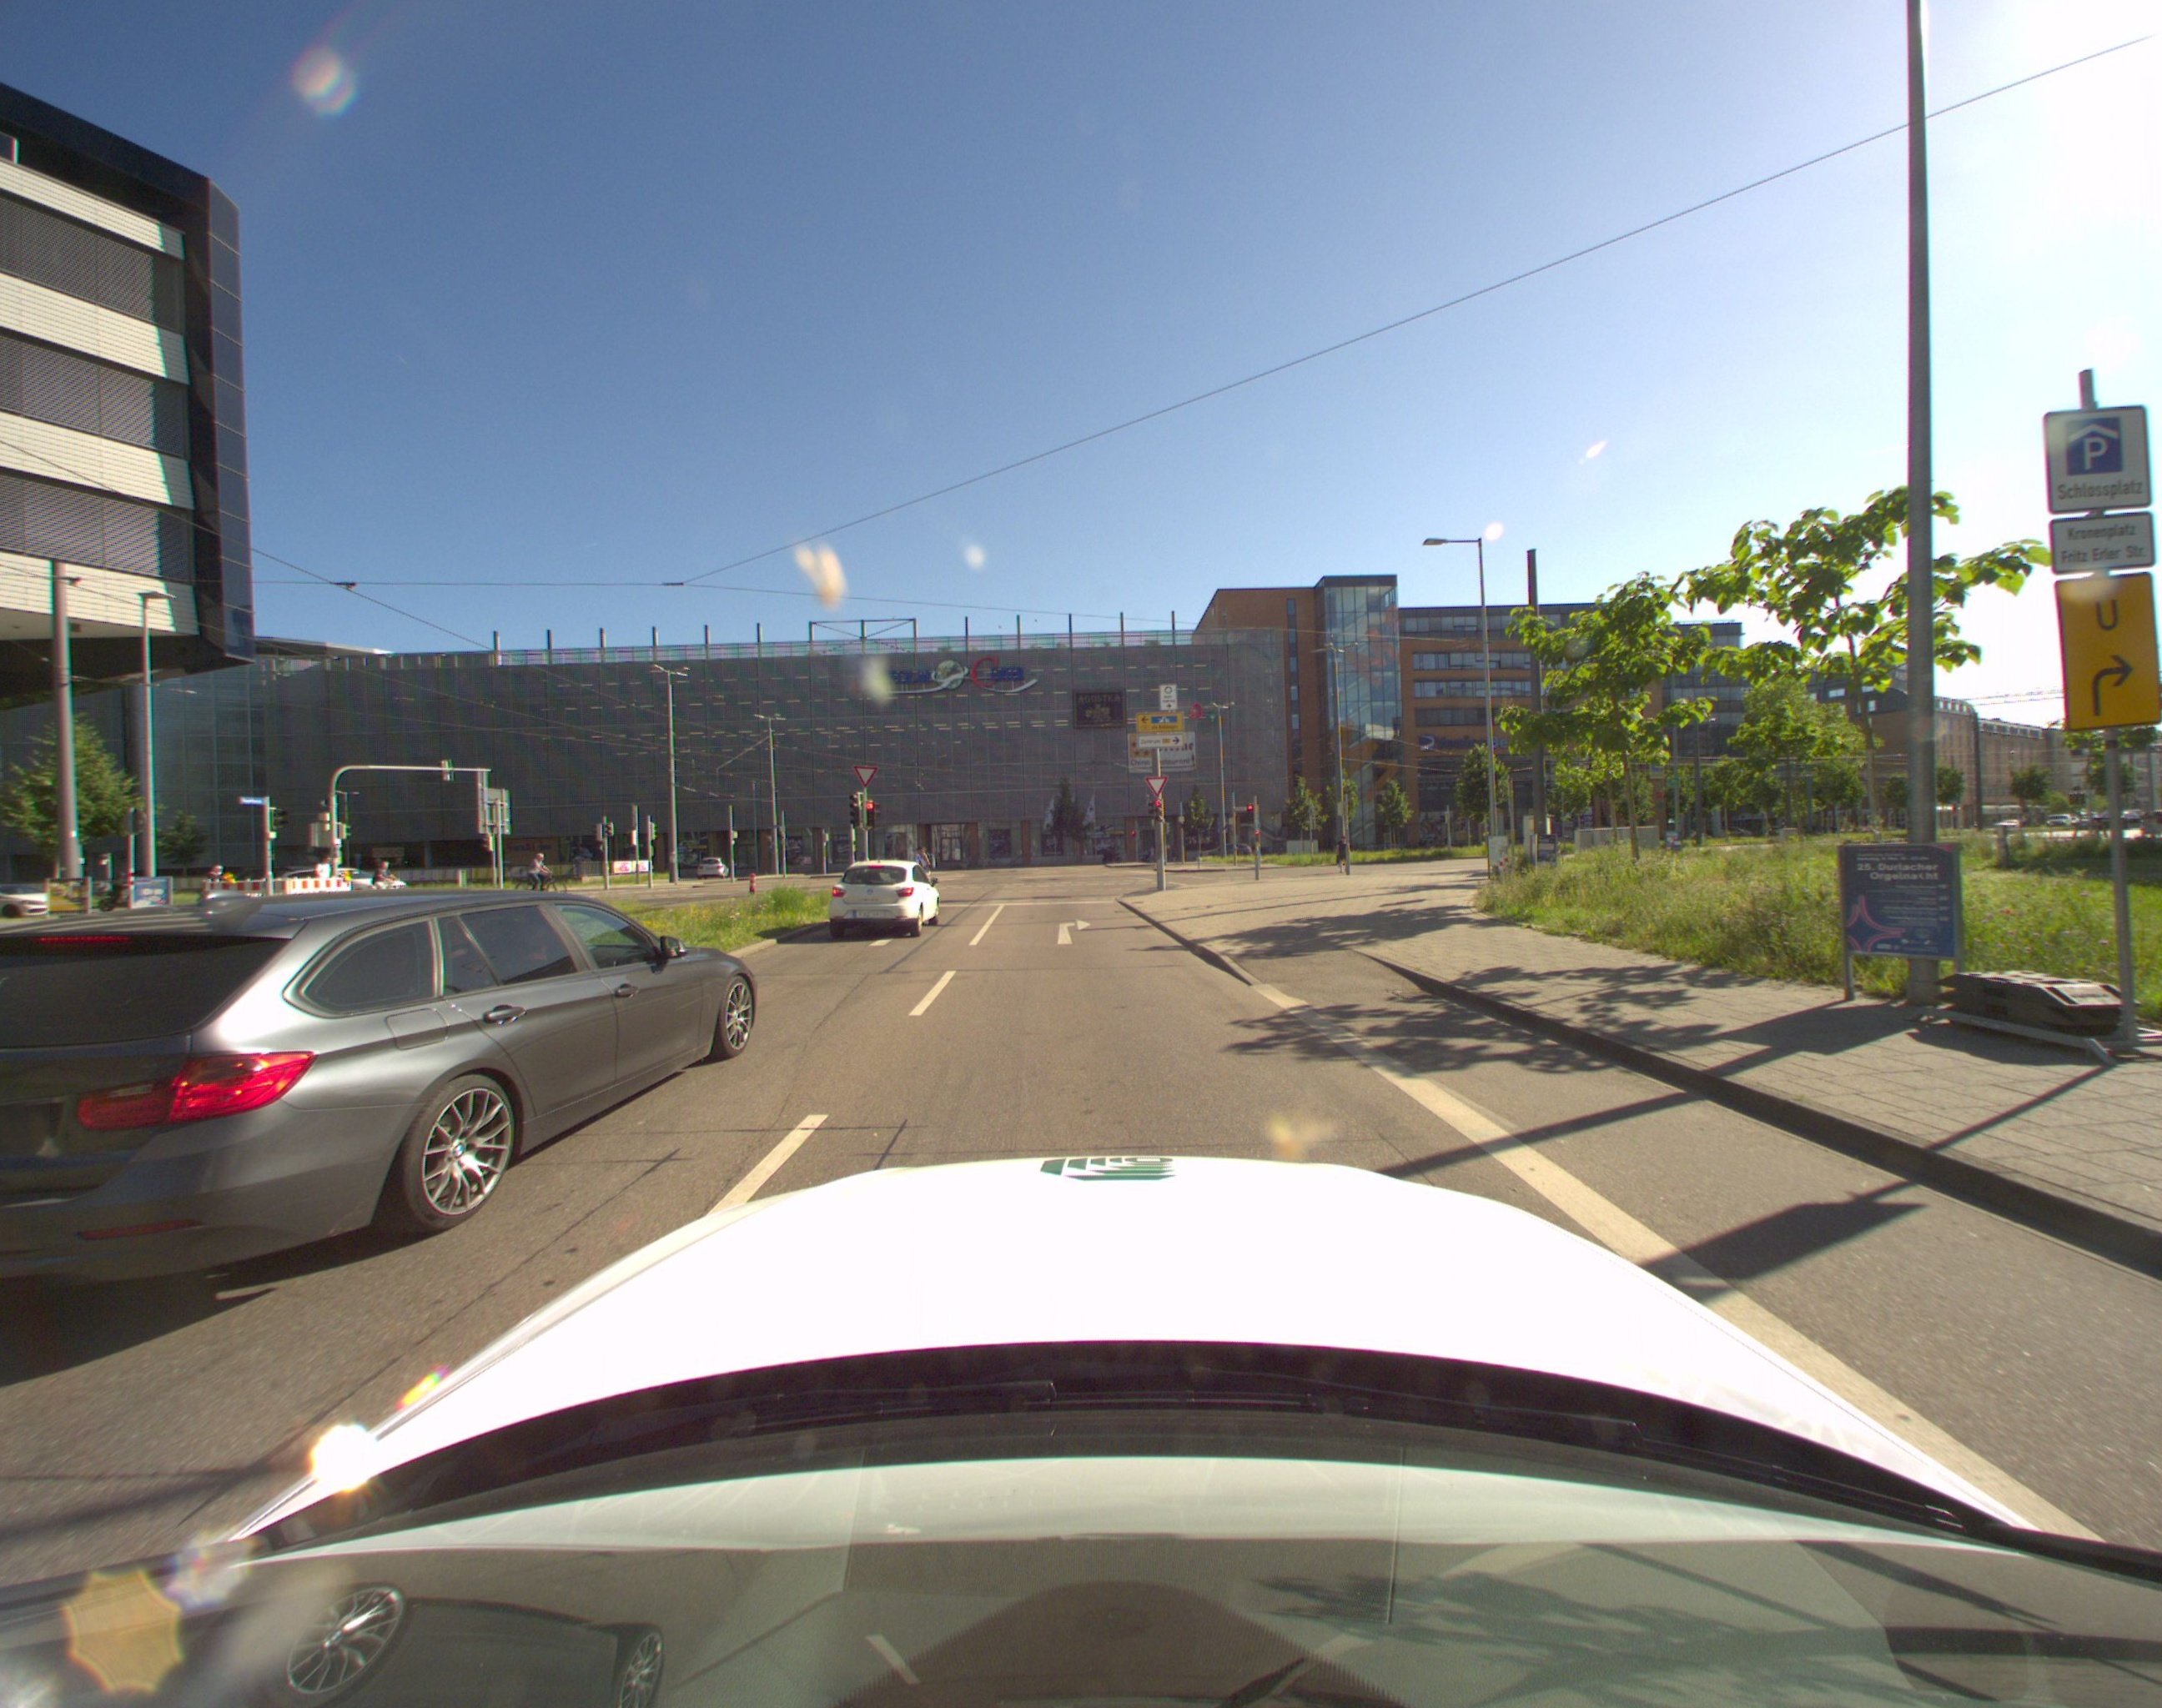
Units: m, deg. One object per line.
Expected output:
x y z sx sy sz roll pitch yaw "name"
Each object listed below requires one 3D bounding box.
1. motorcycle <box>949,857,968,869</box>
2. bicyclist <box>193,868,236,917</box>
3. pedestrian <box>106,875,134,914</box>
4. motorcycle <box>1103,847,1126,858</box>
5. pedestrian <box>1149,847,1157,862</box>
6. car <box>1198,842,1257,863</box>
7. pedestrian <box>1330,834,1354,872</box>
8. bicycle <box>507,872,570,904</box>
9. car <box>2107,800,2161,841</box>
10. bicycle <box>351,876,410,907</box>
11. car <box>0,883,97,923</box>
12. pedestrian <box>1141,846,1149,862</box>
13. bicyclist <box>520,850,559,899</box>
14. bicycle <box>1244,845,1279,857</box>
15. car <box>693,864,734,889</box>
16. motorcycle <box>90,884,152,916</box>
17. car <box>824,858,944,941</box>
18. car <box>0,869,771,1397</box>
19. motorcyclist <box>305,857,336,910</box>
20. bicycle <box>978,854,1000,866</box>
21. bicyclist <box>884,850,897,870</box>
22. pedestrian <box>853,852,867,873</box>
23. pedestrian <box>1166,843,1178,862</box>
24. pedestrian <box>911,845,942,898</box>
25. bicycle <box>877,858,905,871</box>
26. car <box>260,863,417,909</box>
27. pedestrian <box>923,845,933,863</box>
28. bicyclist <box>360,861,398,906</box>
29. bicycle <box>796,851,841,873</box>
-11.368 0.816 75.606 1.643 1.059 0.498 -2 0 6 "motorcycle"
-33.003 1.462 31.014 0.762 1.789 0.761 -2 0 -7 "bicyclist"
-42.128 1.754 35.703 0.691 1.668 0.365 -2 0 -35 "pedestrian"
3.382 -0.127 81.490 2.197 1.042 1.060 -1 1 -3 "motorcycle"
6.897 0.031 78.236 0.588 1.462 0.657 -2 0 -3 "pedestrian"
11.997 -0.144 66.819 4.476 1.494 1.493 -2 0 -3 "car"
12.209 -0.041 38.109 0.805 1.708 0.761 -2 0 -3 "pedestrian"
-21.202 1.322 31.879 1.824 1.116 0.853 -2 0 -3 "bicycle"
55.538 -1.756 41.499 2.010 2.013 3.954 -2 0 -39 "car"
-26.702 1.424 31.057 1.574 1.107 0.733 0 0 -6 "bicycle"
-43.147 2.005 32.994 4.067 1.464 1.911 -2 0 -2 "car"
6.106 -0.001 77.595 0.588 1.534 0.657 -2 0 -3 "pedestrian"
-21.158 0.794 31.820 0.900 1.859 0.853 -2 0 -3 "bicyclist"
18.307 -0.301 82.680 3.346 1.077 1.118 -1 1 3 "bicycle"
-27.523 1.642 61.109 1.751 1.794 3.989 0 0 -8 "car"
-42.065 1.999 35.716 1.620 1.298 0.594 -2 0 -34 "motorcycle"
-3.816 0.823 16.372 1.628 1.423 3.778 1 0 -3 "car"
-3.431 0.859 4.601 1.729 1.423 4.465 1 0 -2 "car"
-29.051 1.122 31.128 0.626 2.013 0.497 -2 0 -3 "motorcyclist"
-9.081 0.580 80.515 2.022 1.059 1.143 -2 0 -4 "bicycle"
-17.379 0.556 74.245 0.850 1.803 0.806 -2 0 -44 "bicyclist"
-20.264 0.739 74.528 0.894 1.868 0.826 -2 0 40 "pedestrian"
8.432 -0.116 75.727 0.853 1.738 0.751 -2 0 -9 "pedestrian"
-5.098 0.573 26.904 0.883 1.707 0.712 -2 0 -3 "pedestrian"
-17.347 0.974 74.238 2.258 1.070 1.033 -2 1 -43 "bicycle"
-30.482 1.283 33.558 4.482 1.634 1.836 -2 1 -6 "car"
-15.212 -0.020 81.088 0.846 1.763 0.619 -2 0 -4 "pedestrian"
-26.727 1.114 31.011 0.781 1.648 0.689 -2 0 -5 "bicyclist"
-26.151 0.768 81.063 3.977 2.013 1.329 -1 1 -3 "bicycle"
